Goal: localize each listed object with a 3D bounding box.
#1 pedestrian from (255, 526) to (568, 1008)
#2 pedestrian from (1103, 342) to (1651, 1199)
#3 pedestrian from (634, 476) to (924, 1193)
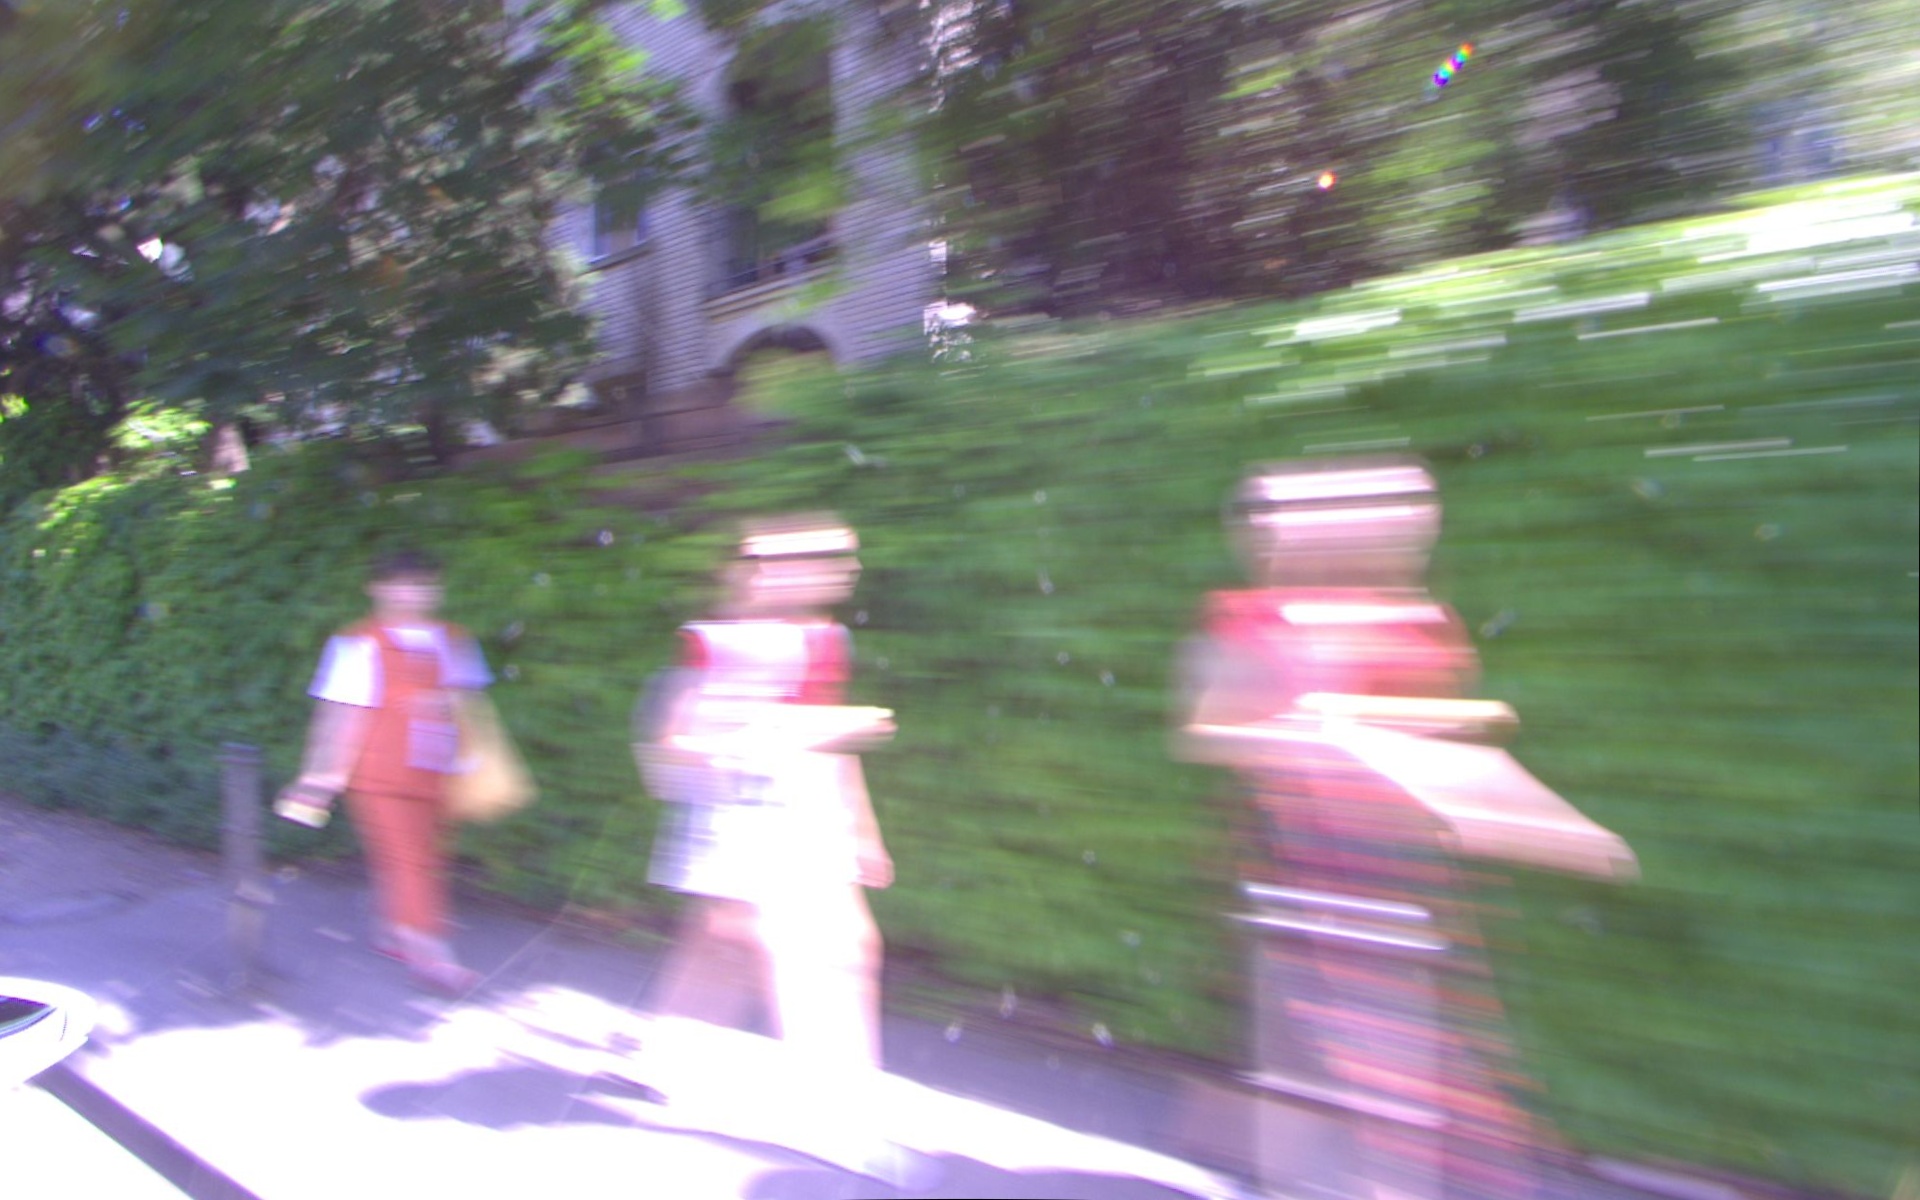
[{"bbox_3d":[-2.168,0.577,3.984,0.907,1.656,0.734,0,1,32],"label":"pedestrian"},{"bbox_3d":[0.847,0.501,2.039,0.900,1.766,0.679,0,1,35],"label":"pedestrian"},{"bbox_3d":[-0.463,0.536,2.610,0.571,1.627,0.454,0,1,32],"label":"pedestrian"}]
